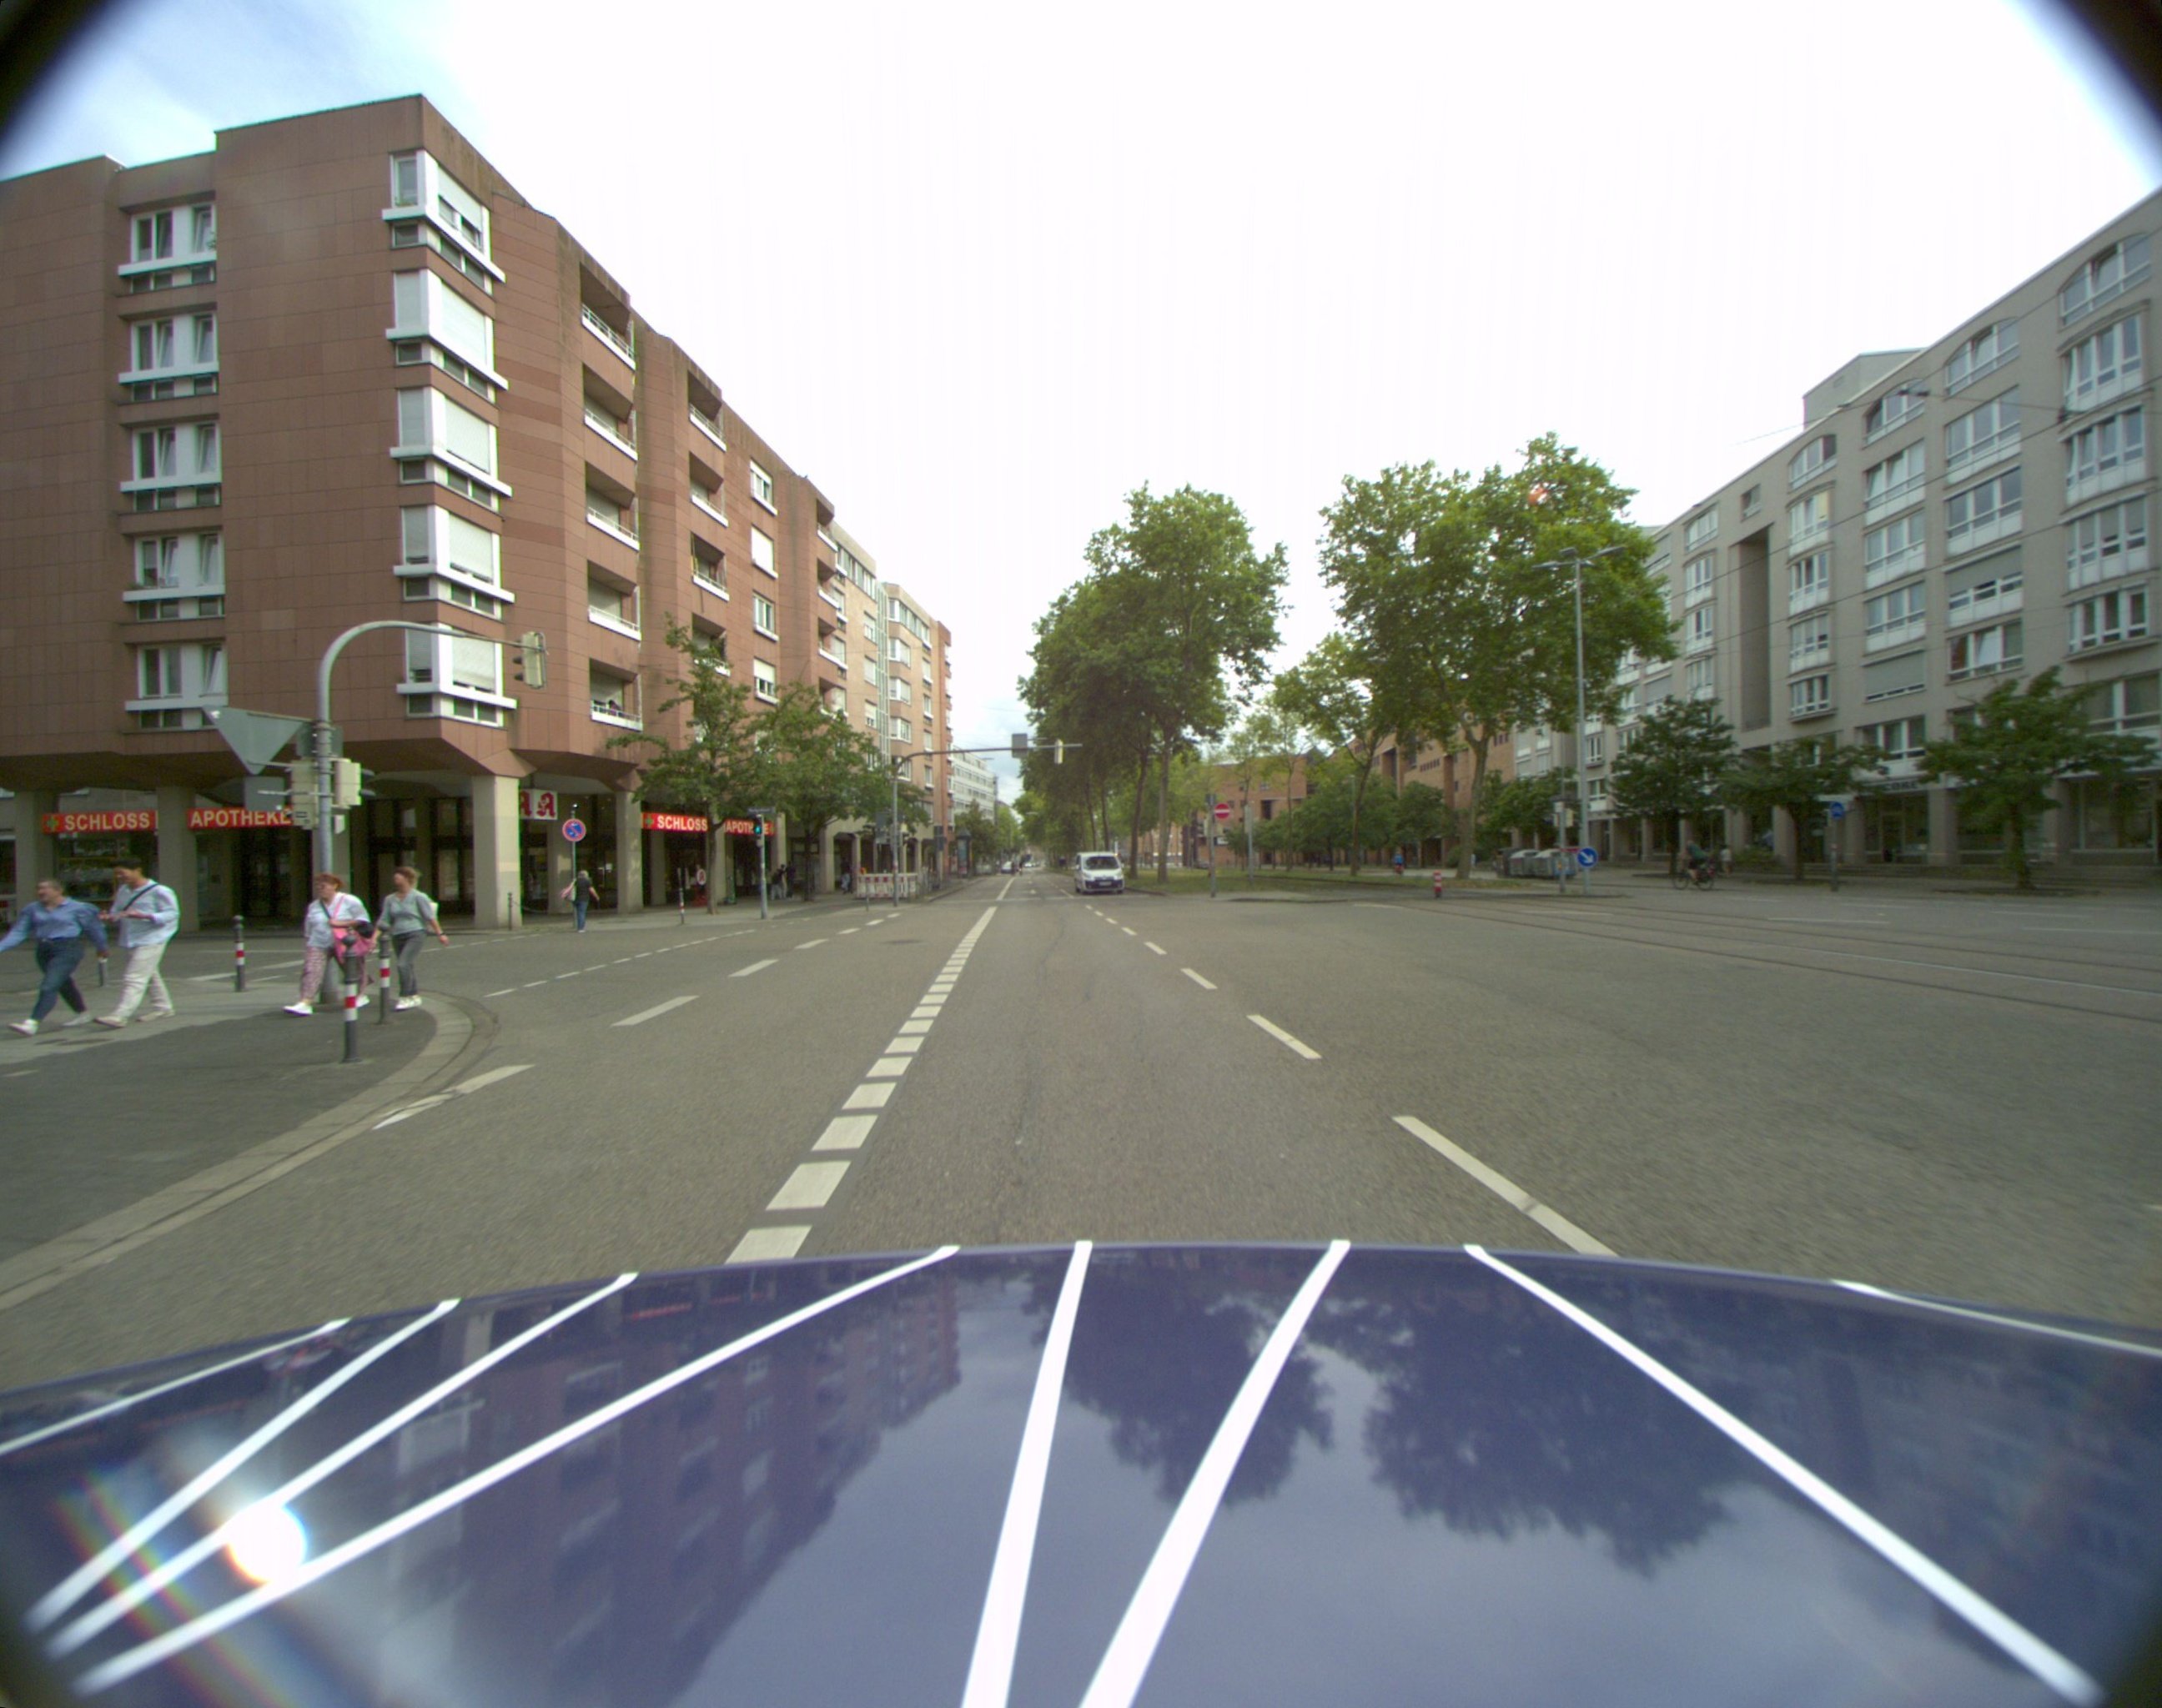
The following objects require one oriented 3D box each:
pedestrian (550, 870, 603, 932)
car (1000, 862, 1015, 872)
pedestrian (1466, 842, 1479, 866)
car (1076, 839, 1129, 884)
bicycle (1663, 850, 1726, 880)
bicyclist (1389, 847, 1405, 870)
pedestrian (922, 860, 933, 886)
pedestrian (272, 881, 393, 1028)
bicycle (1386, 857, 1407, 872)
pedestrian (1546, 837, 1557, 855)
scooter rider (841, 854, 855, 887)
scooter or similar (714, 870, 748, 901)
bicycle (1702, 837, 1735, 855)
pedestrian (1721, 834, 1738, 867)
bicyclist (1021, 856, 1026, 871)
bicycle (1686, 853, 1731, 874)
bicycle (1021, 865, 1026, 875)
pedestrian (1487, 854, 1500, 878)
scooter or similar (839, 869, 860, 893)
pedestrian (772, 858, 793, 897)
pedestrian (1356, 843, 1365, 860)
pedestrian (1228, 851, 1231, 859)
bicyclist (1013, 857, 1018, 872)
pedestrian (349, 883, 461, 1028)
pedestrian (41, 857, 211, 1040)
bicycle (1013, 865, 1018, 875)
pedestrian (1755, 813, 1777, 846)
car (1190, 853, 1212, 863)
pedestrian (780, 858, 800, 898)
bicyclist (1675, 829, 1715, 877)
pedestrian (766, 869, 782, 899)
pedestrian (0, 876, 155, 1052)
[{"bbox_3d":[-13.083,1.197,19.743,0.677,1.529,0.947,-1,0,4],"label":"pedestrian"},{"bbox_3d":[-10.954,1.934,113.521,1.821,1.434,4.665,0,0,-2],"label":"car"},{"bbox_3d":[27.308,-0.011,52.978,0.554,1.695,0.626,-1,1,0],"label":"pedestrian"},{"bbox_3d":[0.920,0.323,35.123,1.937,1.914,4.953,-1,0,-4],"label":"car"},{"bbox_3d":[23.805,0.421,29.520,0.679,1.086,2.209,0,0,1],"label":"bicycle"},{"bbox_3d":[23.416,0.337,56.314,0.691,1.663,0.953,-1,0,0],"label":"bicyclist"},{"bbox_3d":[-9.833,1.198,48.758,0.545,1.640,0.825,-1,0,-3],"label":"pedestrian"},{"bbox_3d":[-8.756,1.137,8.918,0.518,1.607,0.851,-1,0,3],"label":"pedestrian"},{"bbox_3d":[23.433,0.743,56.470,0.692,1.085,1.877,-1,0,0],"label":"bicycle"},{"bbox_3d":[35.954,-0.592,58.054,0.458,1.315,0.554,-1,0,7],"label":"pedestrian"},{"bbox_3d":[-12.062,0.844,39.275,0.463,1.710,0.553,-1,1,9],"label":"scooter rider"},{"bbox_3d":[-14.087,1.264,30.610,0.555,1.163,1.407,-1,0,5],"label":"scooter or similar"},{"bbox_3d":[33.491,-0.415,39.959,0.440,0.938,1.633,-1,0,4],"label":"bicycle"},{"bbox_3d":[29.683,-0.157,34.784,0.532,1.521,0.516,-1,1,43],"label":"pedestrian"},{"bbox_3d":[-6.911,1.093,91.090,0.591,1.760,1.034,0,0,-4],"label":"bicyclist"},{"bbox_3d":[29.375,0.448,35.558,1.630,0.938,0.441,-1,1,8],"label":"bicycle"},{"bbox_3d":[-6.909,1.907,91.054,0.596,1.132,1.858,0,0,-4],"label":"bicycle"},{"bbox_3d":[29.363,0.835,54.084,0.554,1.695,0.626,-1,1,0],"label":"pedestrian"},{"bbox_3d":[-12.019,1.409,39.416,0.474,1.199,1.331,-1,0,9],"label":"scooter or similar"},{"bbox_3d":[-13.748,1.088,35.045,0.552,1.789,0.658,-1,1,26],"label":"pedestrian"},{"bbox_3d":[27.433,-0.255,74.599,0.554,1.695,0.626,-1,0,0],"label":"pedestrian"},{"bbox_3d":[28.619,0.280,146.537,0.508,1.523,0.521,-1,0,11],"label":"pedestrian"},{"bbox_3d":[-7.930,1.267,92.407,0.591,1.757,1.034,0,0,-4],"label":"bicyclist"},{"bbox_3d":[-8.029,1.169,9.057,0.518,1.607,0.851,-1,0,1],"label":"pedestrian"},{"bbox_3d":[-10.079,0.954,8.054,0.678,1.818,0.851,-1,0,3],"label":"pedestrian"},{"bbox_3d":[-7.926,1.956,92.382,0.596,1.132,2.090,0,0,-4],"label":"bicycle"},{"bbox_3d":[34.141,-1.219,37.890,0.571,1.596,0.548,-2,0,5],"label":"pedestrian"},{"bbox_3d":[14.941,0.478,94.839,1.734,1.238,4.532,-1,0,-5],"label":"car"},{"bbox_3d":[-13.185,1.082,34.408,0.552,1.789,0.658,-1,1,7],"label":"pedestrian"},{"bbox_3d":[23.797,-0.036,29.452,0.668,1.837,1.081,0,0,1],"label":"bicyclist"},{"bbox_3d":[-13.740,1.344,34.016,0.487,1.316,0.486,-1,1,38],"label":"pedestrian"},{"bbox_3d":[-10.664,1.099,7.945,0.653,1.691,1.022,-1,0,4],"label":"pedestrian"}]
